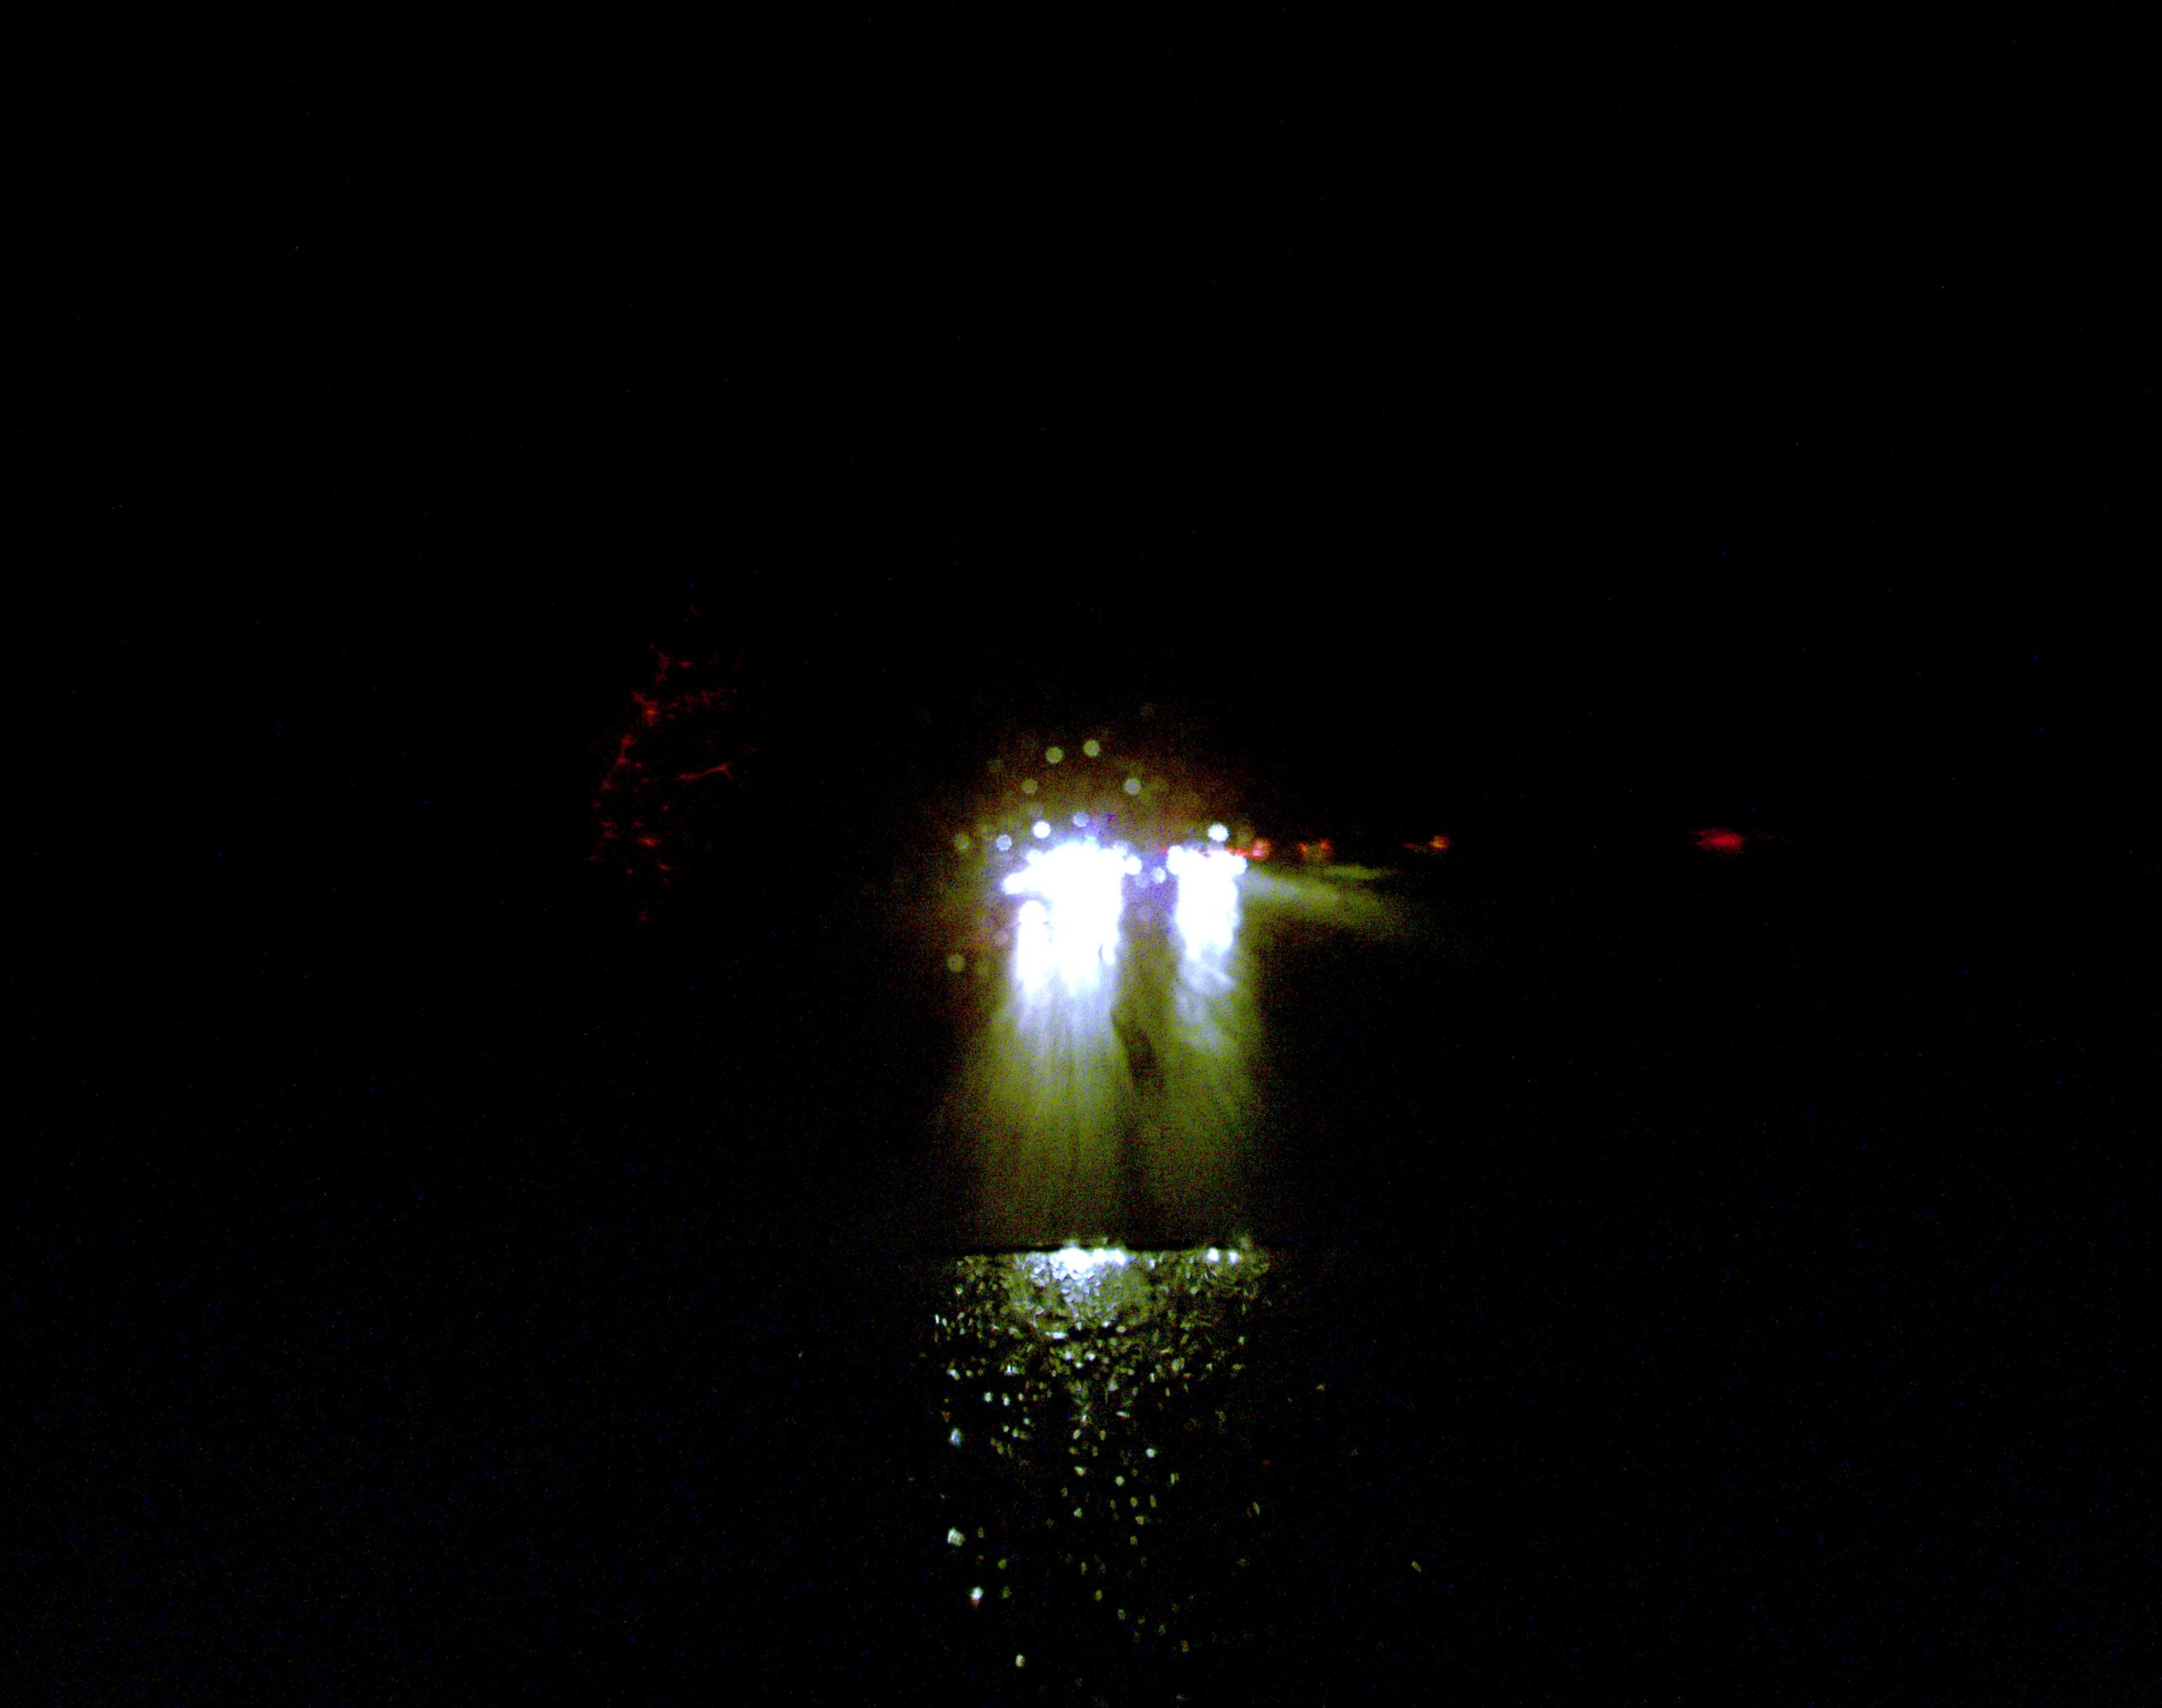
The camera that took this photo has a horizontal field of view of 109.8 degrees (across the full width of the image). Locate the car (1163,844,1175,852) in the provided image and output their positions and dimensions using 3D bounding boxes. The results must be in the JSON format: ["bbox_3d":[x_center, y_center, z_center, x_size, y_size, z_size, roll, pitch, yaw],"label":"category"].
[{"bbox_3d":[16.507,-1.153,142.641,1.710,1.488,3.717,-3,1,-1],"label":"car"}]

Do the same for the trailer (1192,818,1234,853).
[{"bbox_3d":[17.226,-2.287,99.943,3.363,4.149,11.719,-3,0,0],"label":"trailer"}]

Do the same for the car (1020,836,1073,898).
[{"bbox_3d":[-1.237,0.434,28.577,1.754,2.093,4.462,-2,0,-1],"label":"car"}]

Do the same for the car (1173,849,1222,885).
[{"bbox_3d":[5.512,0.590,36.344,1.654,1.566,3.848,-2,0,-1],"label":"car"}]

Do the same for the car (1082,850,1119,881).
[{"bbox_3d":[1.057,0.600,42.565,1.848,1.532,3.998,-3,1,-1],"label":"car"}]

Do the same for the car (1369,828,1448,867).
[{"bbox_3d":[17.572,-0.397,41.032,1.992,1.899,5.135,-3,1,0],"label":"car"}]

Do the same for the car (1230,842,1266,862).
[{"bbox_3d":[13.904,-0.178,63.387,1.887,1.500,4.305,-3,1,-2],"label":"car"}]

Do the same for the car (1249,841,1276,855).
[{"bbox_3d":[19.866,-0.614,83.344,1.844,1.386,4.167,-3,0,-2],"label":"car"}]

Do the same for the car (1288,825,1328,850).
[{"bbox_3d":[19.052,-1.411,64.046,1.896,1.899,4.842,-3,1,0],"label":"car"}]

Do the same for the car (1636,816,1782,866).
[{"bbox_3d":[21.133,-0.436,25.781,1.768,1.487,3.802,-3,1,0],"label":"car"}]

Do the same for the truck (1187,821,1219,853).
[{"bbox_3d":[17.232,-2.340,107.843,3.373,4.149,6.463,-3,1,0],"label":"truck"}]
